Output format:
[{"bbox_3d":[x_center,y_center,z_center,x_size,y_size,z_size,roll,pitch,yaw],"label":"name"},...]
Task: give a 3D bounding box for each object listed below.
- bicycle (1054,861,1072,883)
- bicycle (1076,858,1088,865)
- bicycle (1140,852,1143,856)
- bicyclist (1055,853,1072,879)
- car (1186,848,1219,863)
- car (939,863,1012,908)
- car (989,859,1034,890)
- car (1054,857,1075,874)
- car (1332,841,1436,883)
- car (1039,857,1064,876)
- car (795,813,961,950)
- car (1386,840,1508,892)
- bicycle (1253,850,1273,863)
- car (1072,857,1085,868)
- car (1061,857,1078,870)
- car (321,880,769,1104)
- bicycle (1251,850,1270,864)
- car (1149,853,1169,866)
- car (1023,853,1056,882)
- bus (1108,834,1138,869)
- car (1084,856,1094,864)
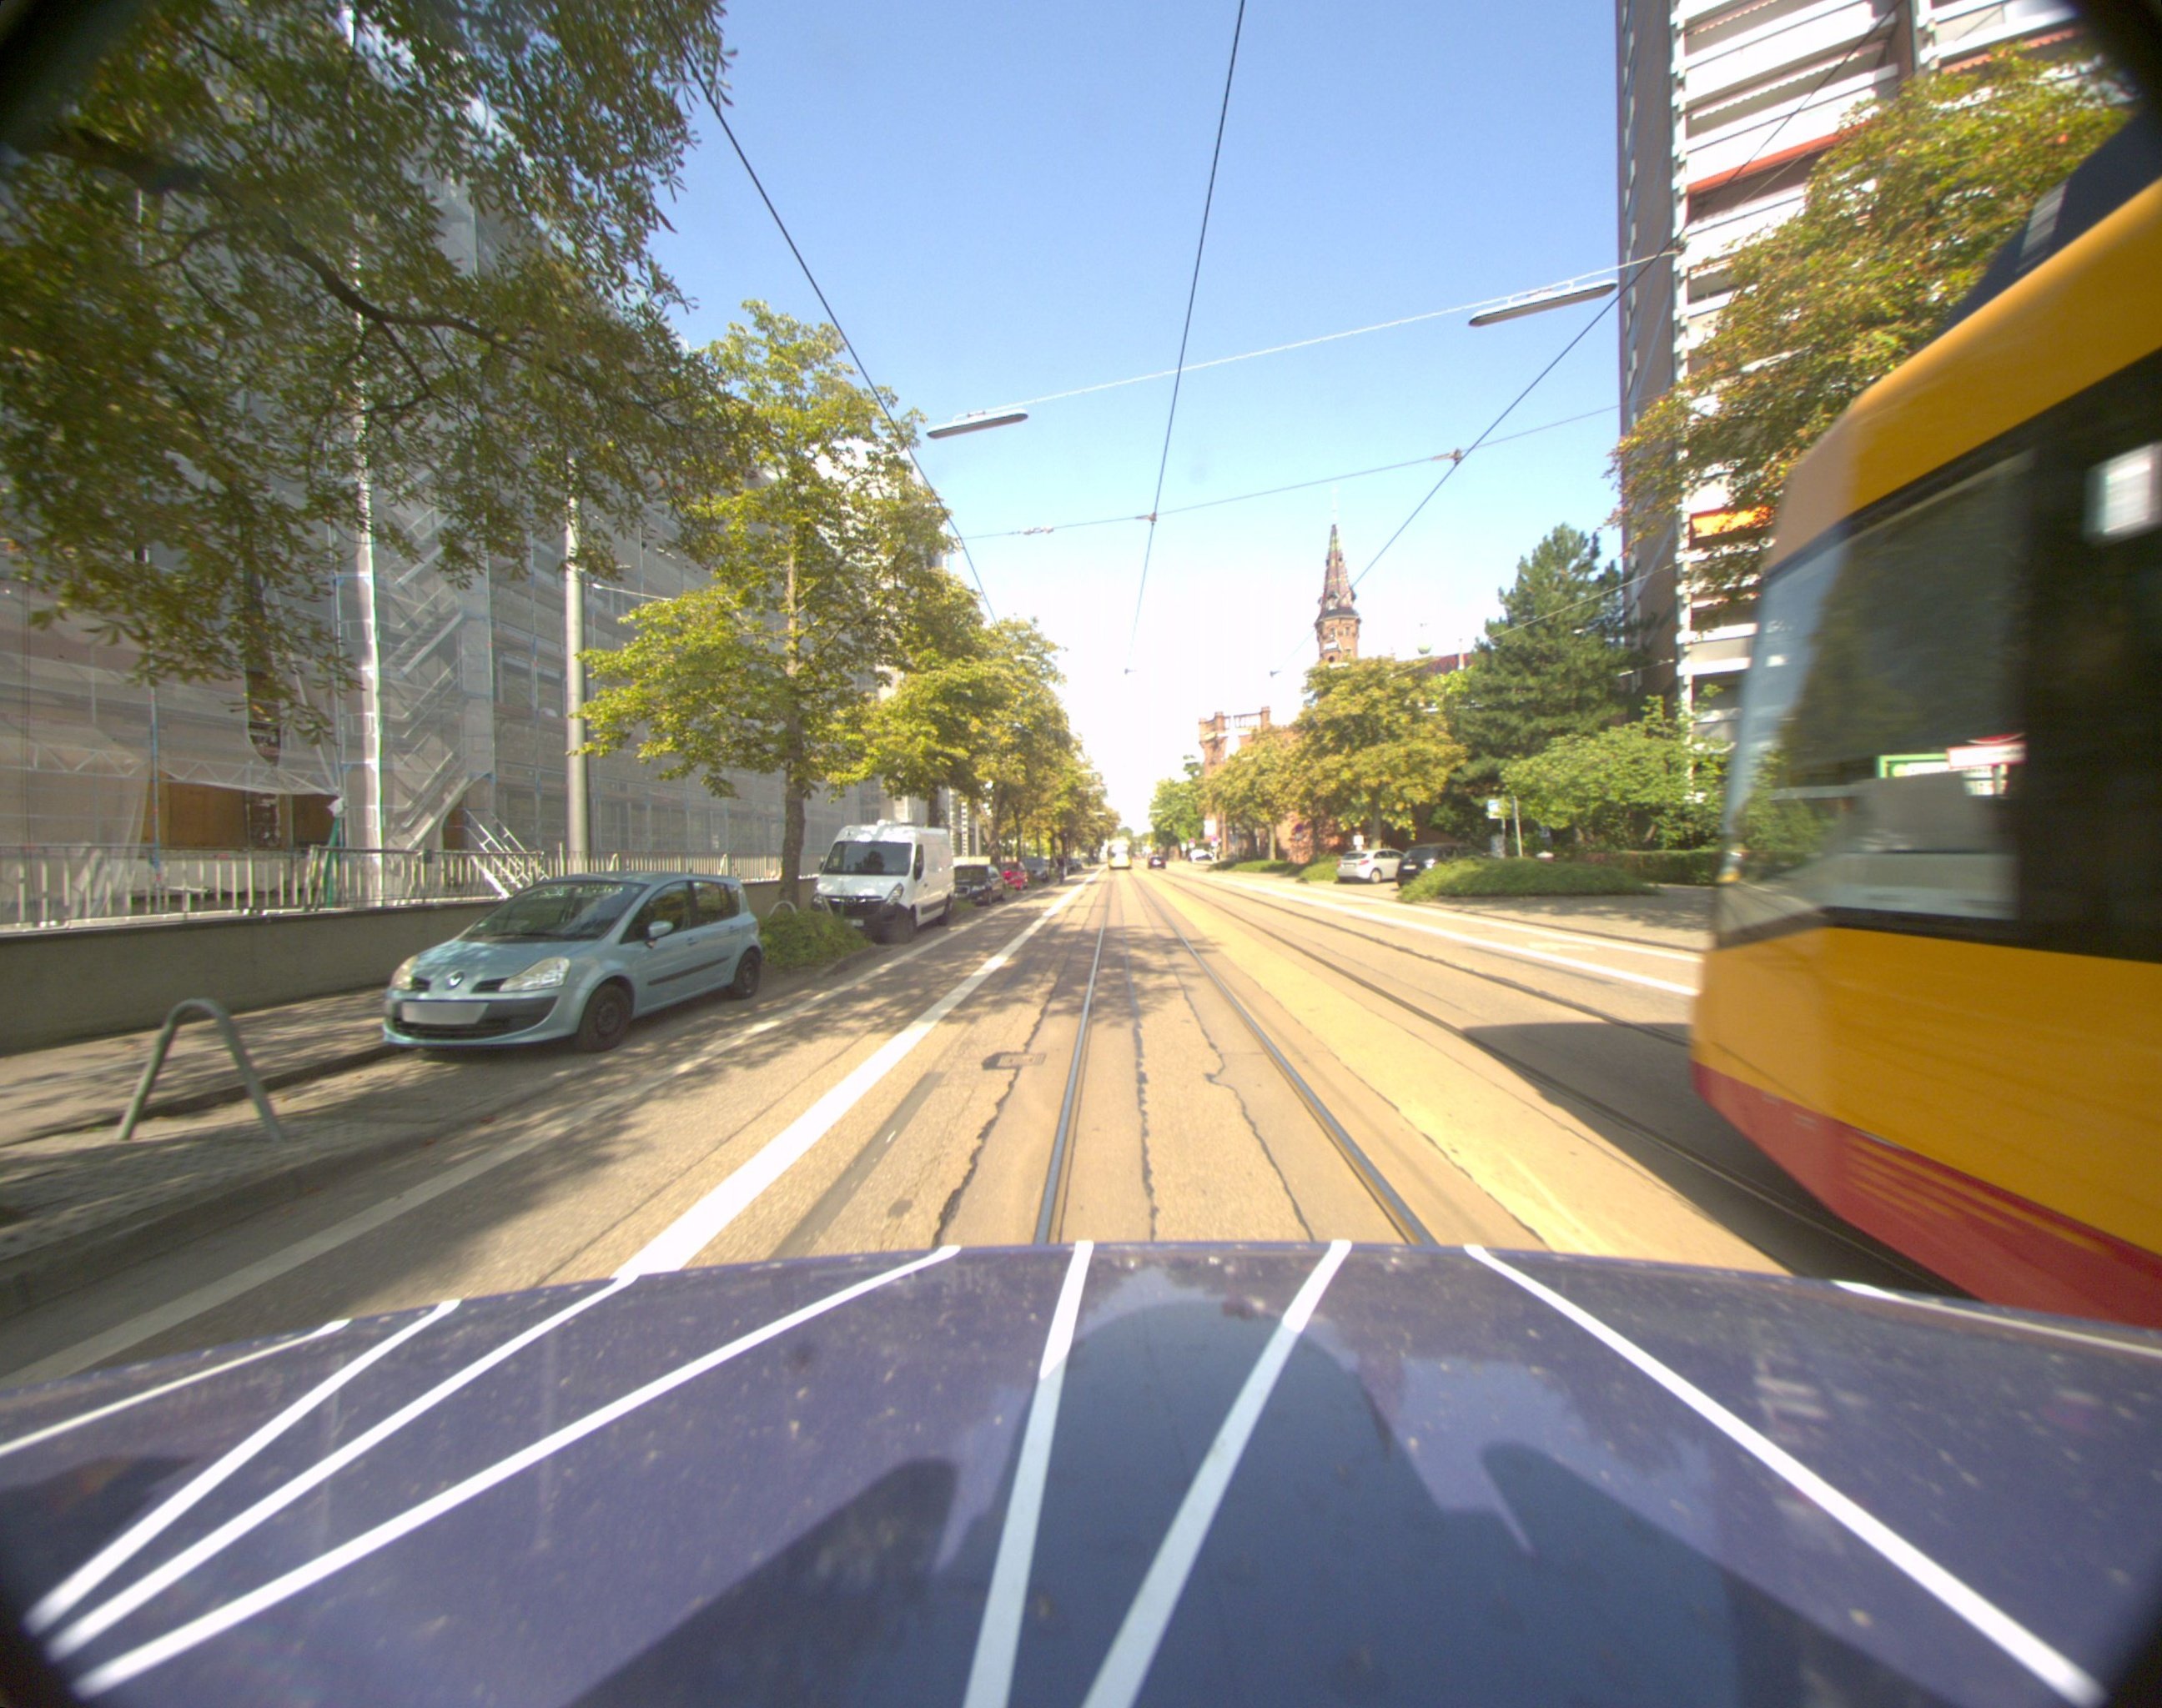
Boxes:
[{"bbox_3d":[-1.001,1.008,43.102,0.788,1.138,2.305,-2,0,5],"label":"bicycle"},{"bbox_3d":[0.203,1.172,114.299,1.773,1.057,0.796,0,0,1],"label":"bicycle"},{"bbox_3d":[16.807,0.082,210.410,0.699,1.151,2.038,-1,1,1],"label":"bicycle"},{"bbox_3d":[-0.988,0.658,43.444,0.788,1.461,1.116,-2,0,5],"label":"bicyclist"},{"bbox_3d":[17.668,0.242,110.319,4.407,1.636,1.957,-6,0,4],"label":"car"},{"bbox_3d":[-3.678,1.067,27.328,1.620,1.366,4.828,-1,0,4],"label":"car"},{"bbox_3d":[-3.415,0.986,37.949,1.620,1.405,4.001,-1,0,3],"label":"car"},{"bbox_3d":[-1.530,1.066,71.114,1.650,1.502,3.779,0,0,3],"label":"car"},{"bbox_3d":[12.797,0.336,32.088,4.004,1.470,1.786,-4,0,-27],"label":"car"},{"bbox_3d":[-2.237,0.937,58.611,1.579,1.476,3.739,0,0,3],"label":"car"},{"bbox_3d":[-4.311,0.522,17.255,2.087,2.538,5.502,2,0,1],"label":"car"},{"bbox_3d":[12.305,0.377,25.545,3.649,1.506,1.619,-3,0,-22],"label":"car"},{"bbox_3d":[17.405,0.239,72.552,1.809,1.068,0.420,-6,2,-19],"label":"bicycle"},{"bbox_3d":[-0.287,1.108,101.906,1.644,1.421,3.989,-1,0,1],"label":"car"},{"bbox_3d":[-1.222,1.028,83.440,1.650,1.420,4.085,0,0,2],"label":"car"},{"bbox_3d":[-4.921,1.118,7.767,1.668,1.607,3.878,0,0,3],"label":"car"},{"bbox_3d":[17.259,0.285,72.994,1.809,1.068,0.420,-6,2,-19],"label":"bicycle"},{"bbox_3d":[8.295,0.573,80.889,1.833,1.368,4.513,-1,0,2],"label":"car"},{"bbox_3d":[-2.600,0.835,48.406,1.757,1.681,4.397,-2,0,1],"label":"car"},{"bbox_3d":[4.845,-0.281,86.201,2.900,3.771,9.322,-2,0,5],"label":"bus"},{"bbox_3d":[1.365,1.024,132.202,1.745,1.477,4.438,0,-1,2],"label":"car"}]
